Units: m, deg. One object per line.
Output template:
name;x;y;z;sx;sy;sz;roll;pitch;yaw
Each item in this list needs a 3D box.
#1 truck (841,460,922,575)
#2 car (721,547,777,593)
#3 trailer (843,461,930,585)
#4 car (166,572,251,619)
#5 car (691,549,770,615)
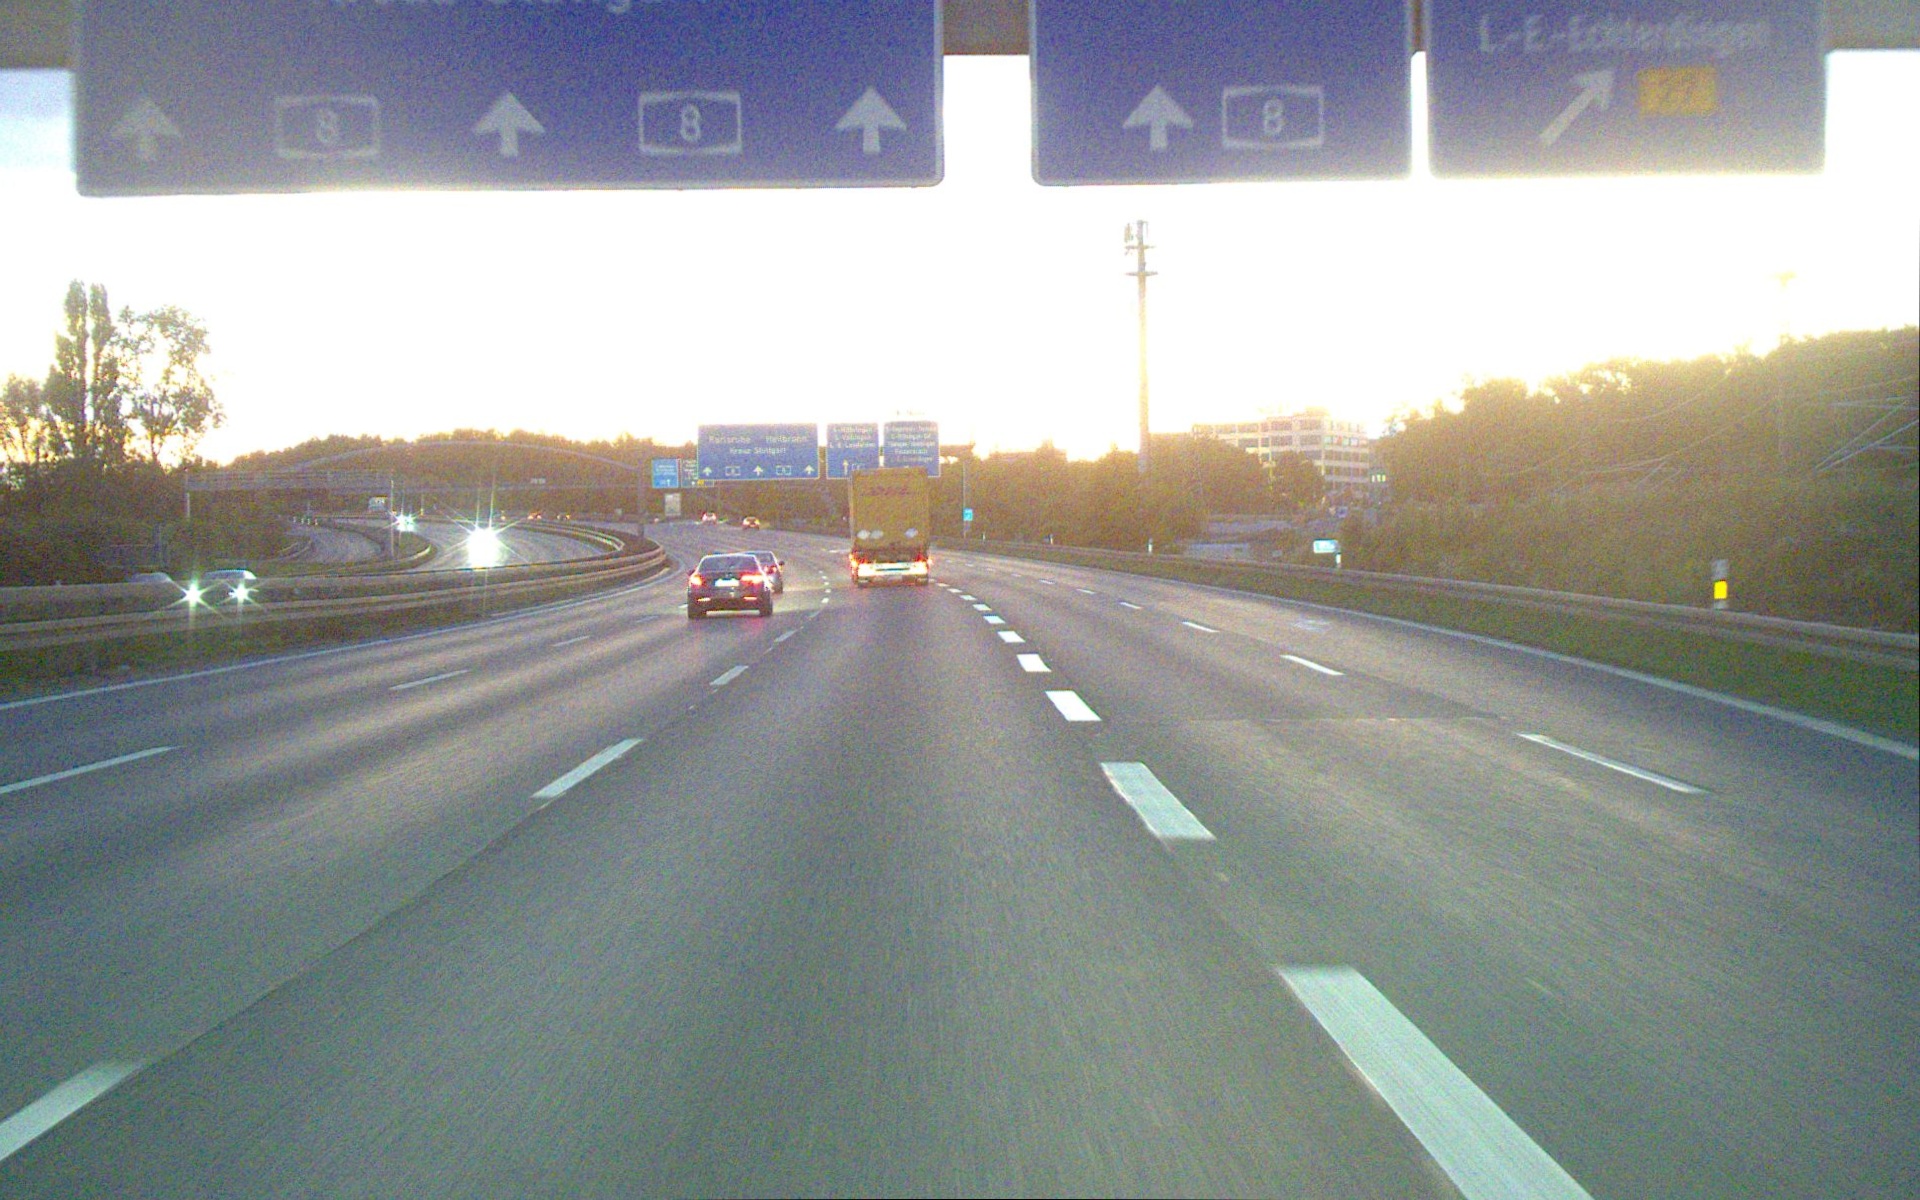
truck;-3.027;-3.170;129.724;2.690;4.057;10.522;-2;2;-2
car;-6.930;-0.974;113.296;1.689;1.396;3.409;-3;0;-2
trailer;-2.617;-2.757;120.074;2.721;4.057;8.832;-2;2;-2
car;-23.215;-0.119;106.265;1.689;1.396;4.429;1;0;-1
car;-5.244;-0.424;78.368;1.689;1.396;3.409;-3;1;-4
